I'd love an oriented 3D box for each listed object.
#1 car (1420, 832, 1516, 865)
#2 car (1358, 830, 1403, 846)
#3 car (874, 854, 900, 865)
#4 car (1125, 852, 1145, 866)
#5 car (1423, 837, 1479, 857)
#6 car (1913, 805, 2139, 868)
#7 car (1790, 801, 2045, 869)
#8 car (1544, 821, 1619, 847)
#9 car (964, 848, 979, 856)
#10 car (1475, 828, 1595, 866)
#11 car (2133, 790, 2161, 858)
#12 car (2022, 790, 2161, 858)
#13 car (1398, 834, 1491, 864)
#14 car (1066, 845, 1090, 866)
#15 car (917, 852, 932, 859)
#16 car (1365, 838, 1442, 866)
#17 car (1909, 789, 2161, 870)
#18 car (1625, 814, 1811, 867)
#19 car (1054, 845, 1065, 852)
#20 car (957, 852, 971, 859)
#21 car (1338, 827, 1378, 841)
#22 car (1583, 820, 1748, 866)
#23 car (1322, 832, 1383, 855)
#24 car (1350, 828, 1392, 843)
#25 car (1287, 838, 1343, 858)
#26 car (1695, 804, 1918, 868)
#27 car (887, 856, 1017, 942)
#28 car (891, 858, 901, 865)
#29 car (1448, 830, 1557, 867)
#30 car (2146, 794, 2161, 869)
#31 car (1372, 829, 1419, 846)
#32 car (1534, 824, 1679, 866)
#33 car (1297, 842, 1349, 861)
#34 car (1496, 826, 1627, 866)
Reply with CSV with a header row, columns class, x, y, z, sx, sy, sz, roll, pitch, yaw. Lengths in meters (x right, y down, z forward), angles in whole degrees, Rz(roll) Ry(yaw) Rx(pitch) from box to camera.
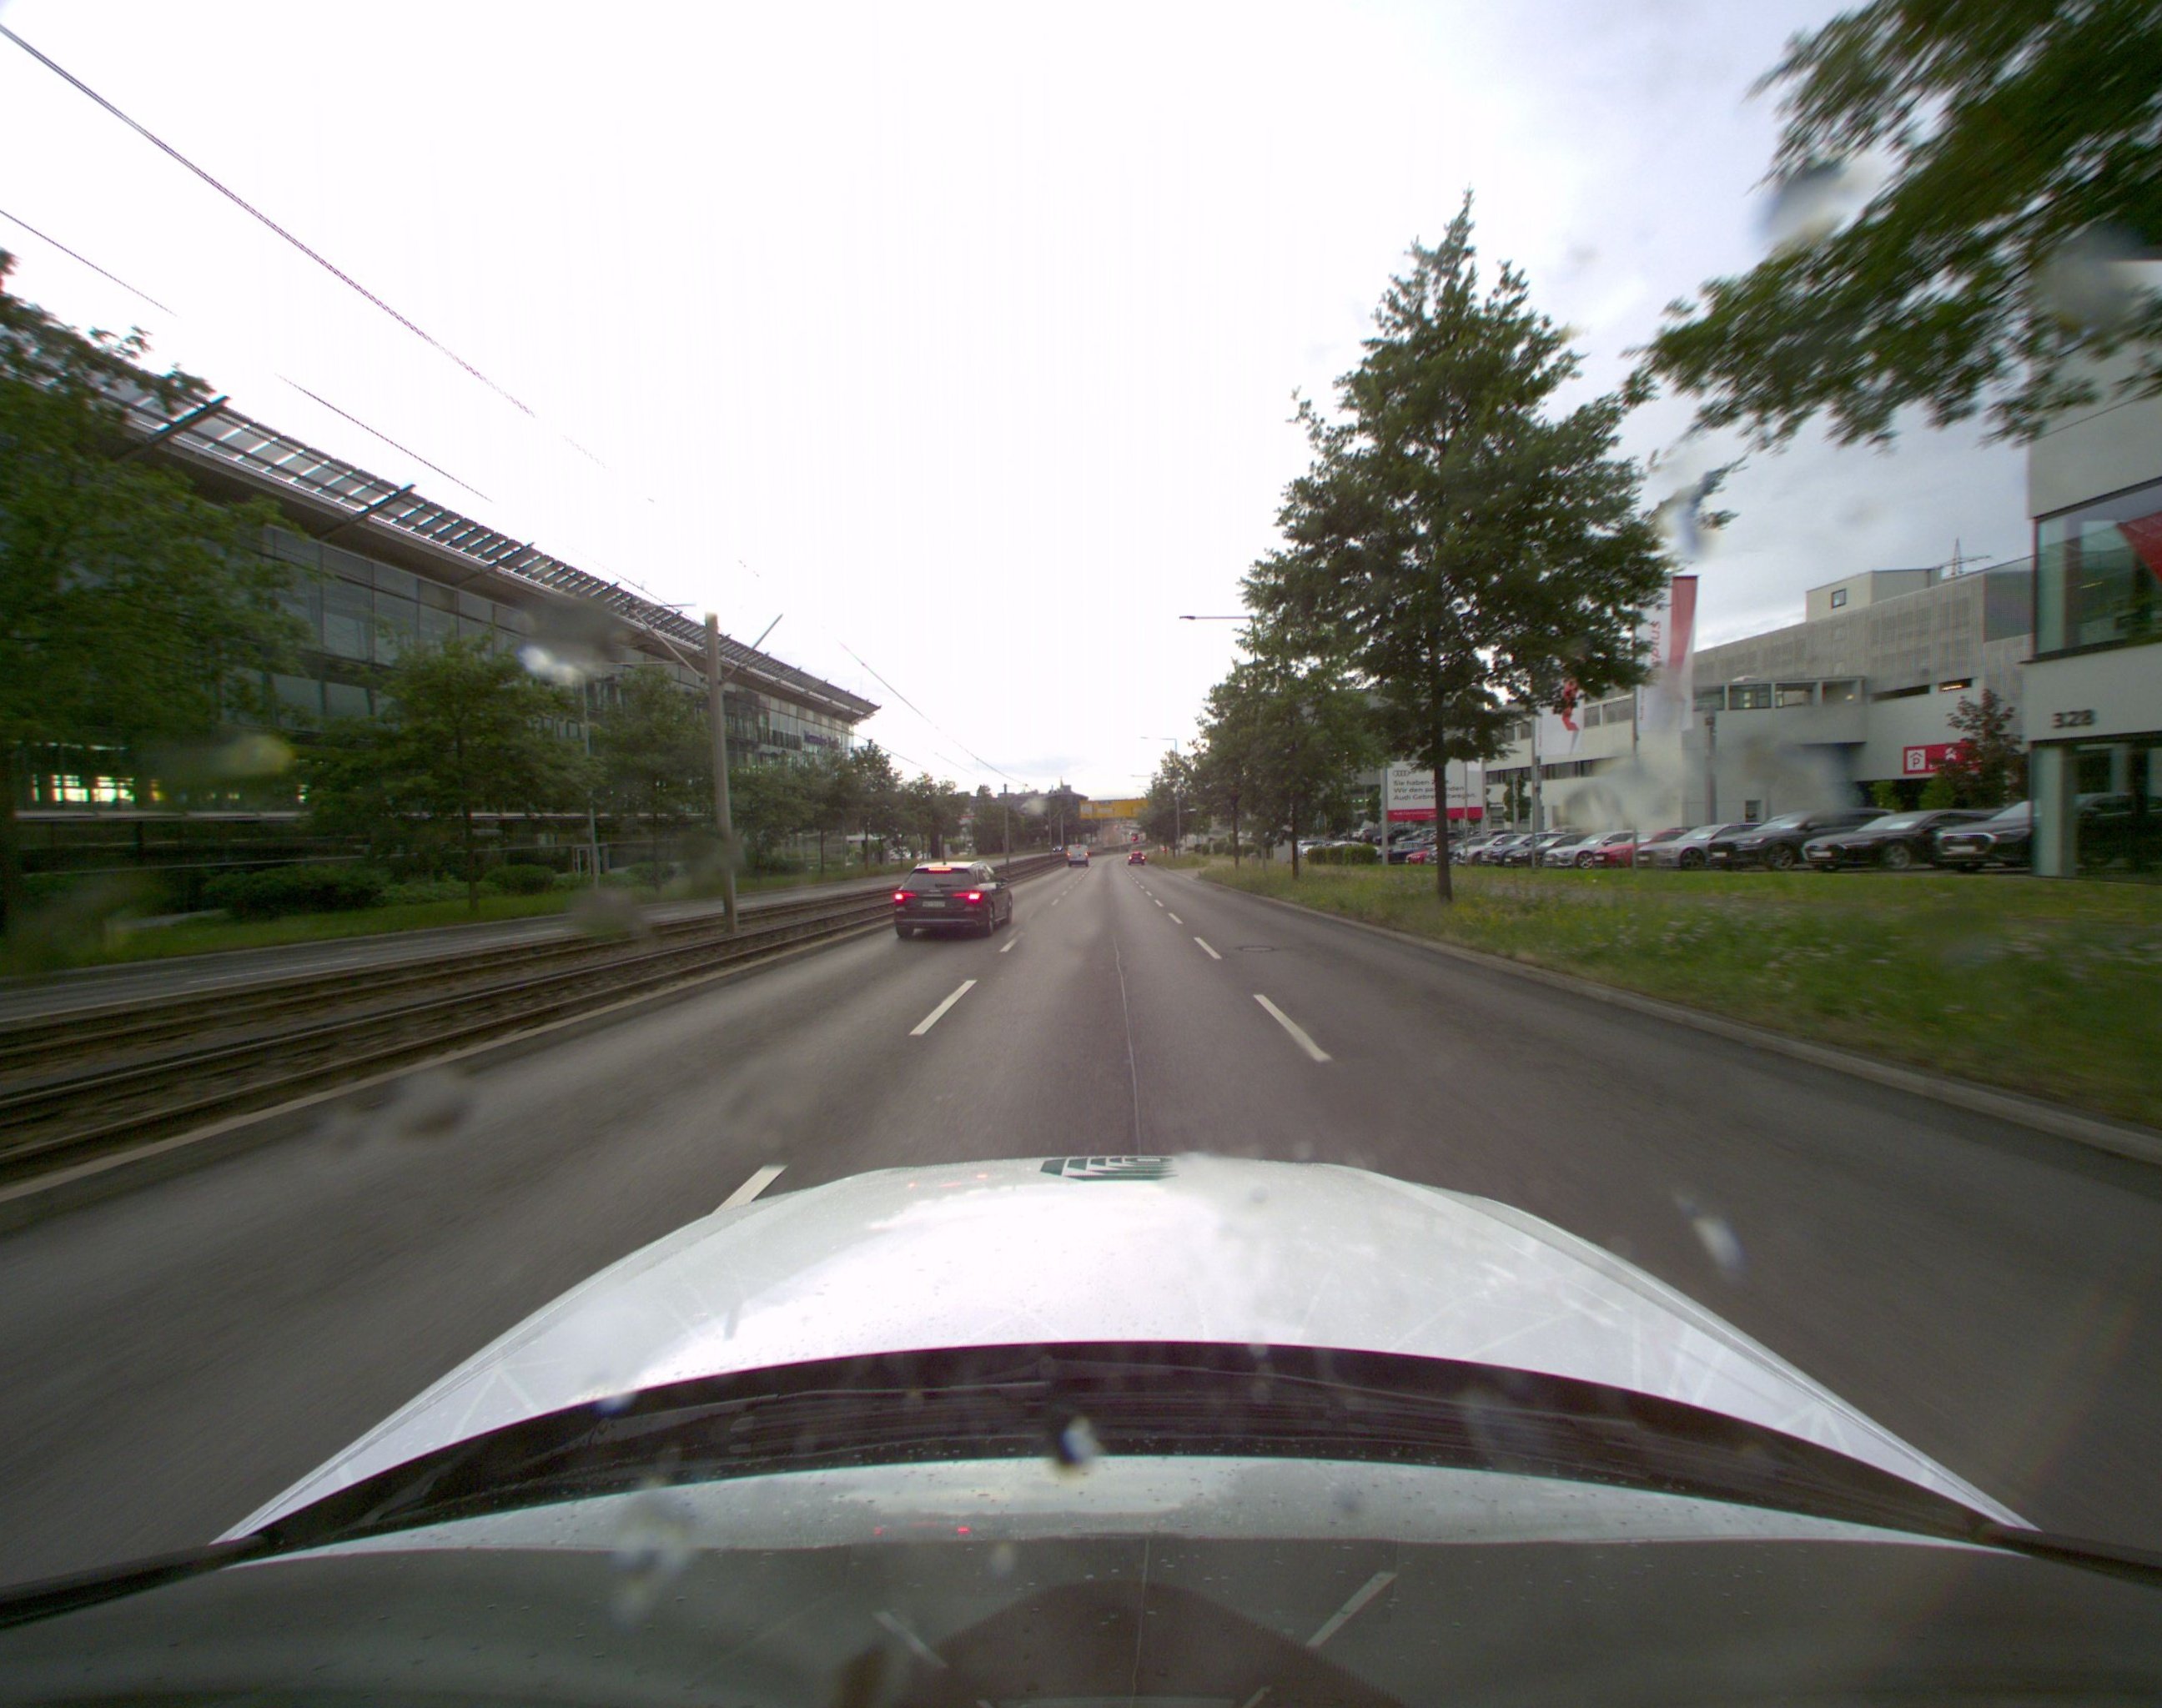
class,x,y,z,sx,sy,sz,roll,pitch,yaw
car,20.735,-0.262,43.769,4.264,1.593,1.826,-2,-1,-1
car,31.414,-1.707,85.573,4.091,1.574,1.826,-1,1,0
car,-31.830,0.877,133.636,3.979,1.750,1.997,0,0,-4
car,6.016,0.566,91.342,2.015,1.623,3.999,0,0,-1
car,31.853,-0.562,70.176,4.092,1.574,1.692,-1,-1,0
car,26.464,-0.470,22.915,4.264,1.551,1.826,-2,-1,-1
car,20.100,-0.426,19.695,4.307,1.378,1.836,-3,-1,-1
car,38.630,-1.552,62.915,4.505,1.855,2.003,-1,0,5
car,-21.968,-0.394,163.689,1.983,1.650,4.007,0,-1,7
car,21.039,-0.312,37.882,4.446,1.528,1.931,-3,-1,0
car,26.639,-0.755,18.082,4.264,1.551,1.826,-2,-1,-1
car,26.536,-0.755,20.212,4.264,1.551,1.826,-2,-1,-1
car,20.854,-0.269,46.814,4.451,1.551,1.929,-2,-1,-4
car,-0.348,0.196,86.159,2.503,2.177,5.147,0,-1,-1
car,-33.856,0.381,175.662,2.006,1.510,3.962,0,-1,-30
car,20.302,-0.122,51.484,1.843,1.593,4.319,-2,-1,-29
car,20.461,-0.496,16.985,4.382,1.481,1.931,-2,-1,0
car,20.214,-0.409,25.974,4.381,1.427,1.891,-3,-1,1
car,-4.913,-1.310,187.288,1.874,1.520,4.409,-4,1,4
car,-25.705,0.351,178.810,2.002,1.510,3.968,0,-1,-24
car,32.385,-2.309,95.297,4.091,1.574,1.760,-1,1,0
car,20.525,-0.358,28.722,4.382,1.348,1.931,-3,-1,0
car,21.029,-0.798,63.138,4.101,1.594,1.944,-1,-1,-7
car,32.289,-2.087,90.824,4.091,1.574,1.693,-1,1,0
car,20.881,-0.517,72.865,4.504,1.594,1.692,-2,-1,0
car,20.281,-0.478,22.926,4.381,1.500,2.041,-3,-1,1
car,-2.467,0.805,16.706,1.757,1.463,4.628,-1,0,2
car,-39.097,1.527,172.133,1.757,1.494,3.974,0,-1,-19
car,21.092,-0.261,40.864,4.446,1.551,1.931,-3,-1,0
car,20.158,-0.441,12.730,1.891,1.338,3.923,-2,-1,1
car,31.962,-1.720,82.820,4.092,1.574,1.693,-2,1,0
car,20.603,-0.332,32.053,4.446,1.456,1.931,-2,-1,0
car,21.016,-0.218,70.799,4.091,1.594,1.692,-1,-1,0
car,20.628,-0.311,35.087,4.446,1.456,1.931,-3,-1,0
